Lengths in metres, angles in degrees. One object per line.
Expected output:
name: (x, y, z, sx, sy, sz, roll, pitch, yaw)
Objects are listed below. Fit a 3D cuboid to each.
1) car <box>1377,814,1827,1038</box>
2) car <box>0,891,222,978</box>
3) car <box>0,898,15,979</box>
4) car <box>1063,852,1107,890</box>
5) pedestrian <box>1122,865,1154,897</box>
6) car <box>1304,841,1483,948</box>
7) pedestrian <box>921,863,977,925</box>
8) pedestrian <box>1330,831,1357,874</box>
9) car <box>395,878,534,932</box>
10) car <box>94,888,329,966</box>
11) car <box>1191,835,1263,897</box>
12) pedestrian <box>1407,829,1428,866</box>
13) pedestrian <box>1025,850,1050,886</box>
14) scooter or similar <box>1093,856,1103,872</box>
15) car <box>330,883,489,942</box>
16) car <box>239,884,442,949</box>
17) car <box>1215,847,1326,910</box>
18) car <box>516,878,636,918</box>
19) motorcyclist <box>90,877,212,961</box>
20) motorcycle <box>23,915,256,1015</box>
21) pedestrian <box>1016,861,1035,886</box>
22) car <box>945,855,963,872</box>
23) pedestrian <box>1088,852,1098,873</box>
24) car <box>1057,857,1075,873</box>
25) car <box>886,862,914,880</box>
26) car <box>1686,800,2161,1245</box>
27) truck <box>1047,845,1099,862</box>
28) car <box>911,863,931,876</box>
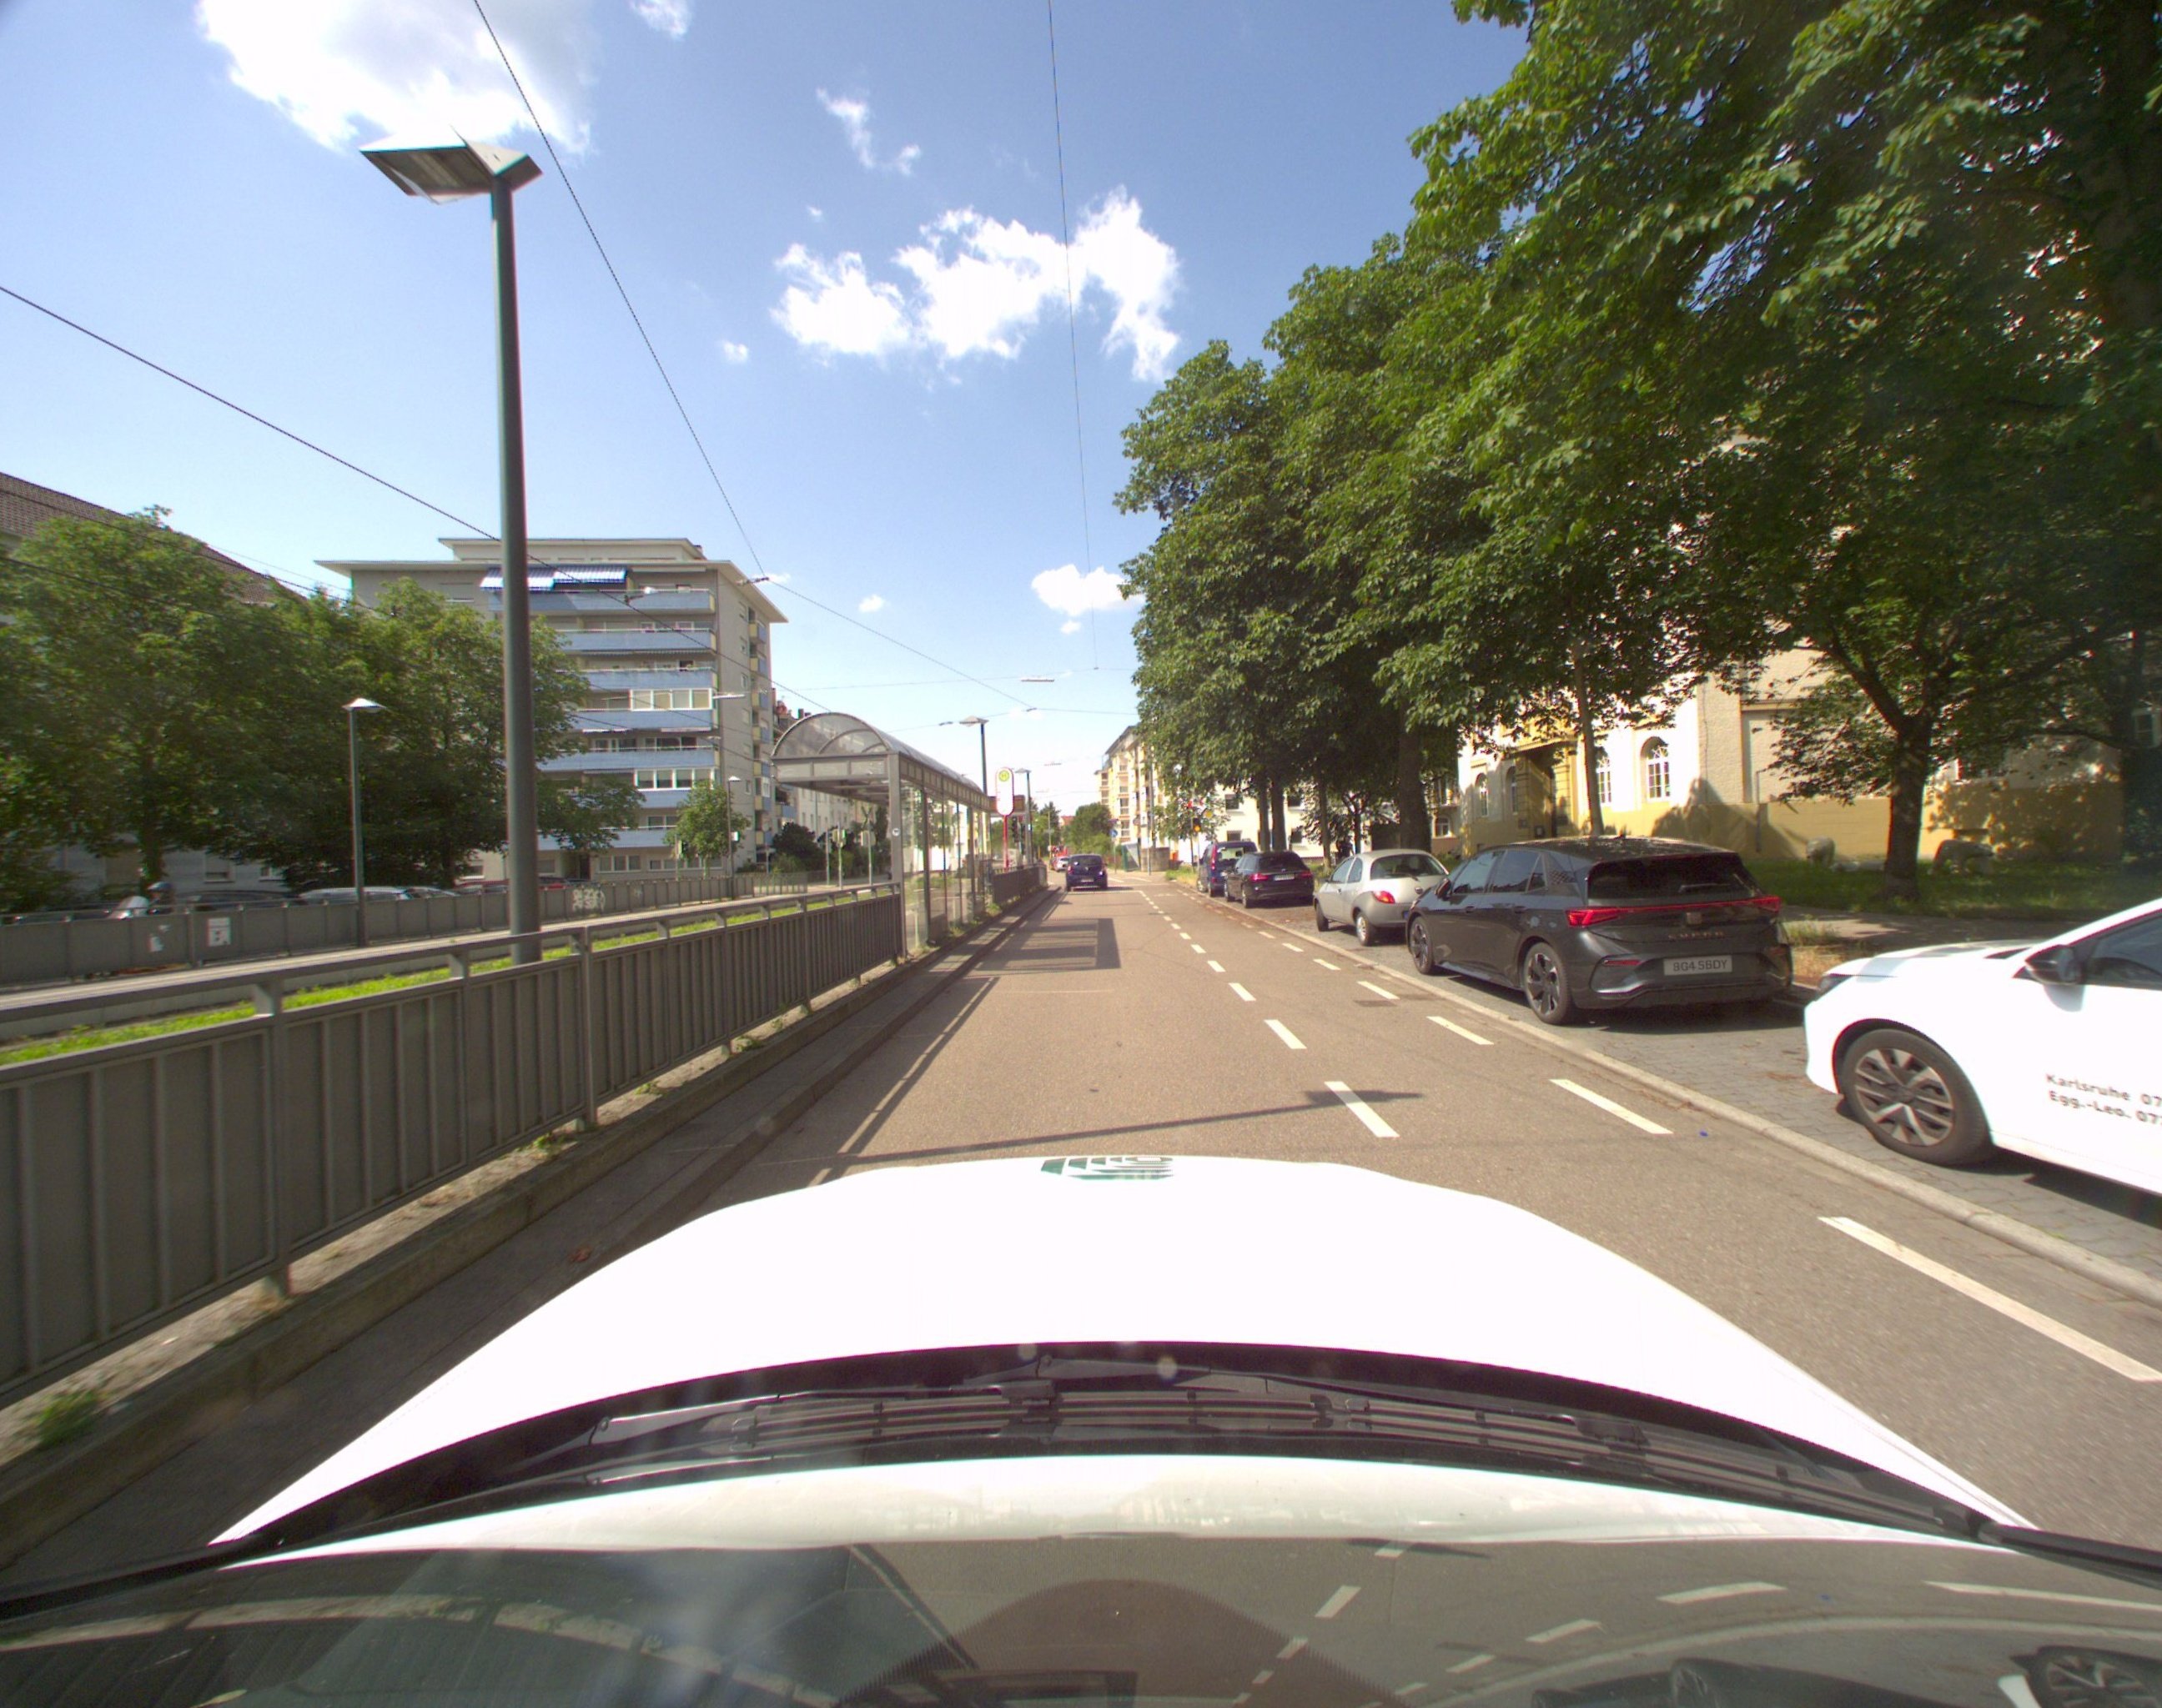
car: (4.747, 0.535, 8.440, 1.718, 1.583, 4.679, -3, 0, 2)
car: (-21.653, 1.726, 17.729, 3.678, 1.579, 1.633, -2, 0, -30)
car: (-22.539, 1.711, 14.469, 3.965, 1.579, 1.702, -2, 0, -31)
car: (0.173, 0.703, 34.356, 1.738, 1.507, 4.000, -1, -1, 1)
pedestrian: (3.798, 1.786, 55.067, 1.986, 2.014, 4.001, -1, -1, 1)
car: (4.993, 0.595, 13.530, 1.585, 1.445, 3.599, -4, 0, 1)
pedestrian: (-2.422, 0.734, 14.992, 0.655, 1.072, 0.728, -2, 1, 35)
pedestrian: (10.522, -0.062, 32.664, 0.741, 1.696, 0.767, -3, 0, 2)
car: (-21.606, 1.743, 28.743, 3.678, 1.579, 1.633, -2, 0, -30)
car: (-21.651, 1.758, 20.498, 3.678, 1.579, 1.633, -2, 0, -30)
car: (4.971, 0.369, 28.215, 1.815, 1.896, 4.187, -4, 0, 3)
pedestrian: (14.912, -0.267, 36.081, 0.629, 1.596, 0.539, -2, -1, -2)
pedestrian: (-2.087, 0.666, 39.304, 0.851, 1.667, 0.790, -2, -1, -34)
scooter or similar: (1.467, 0.877, 71.175, 0.661, 1.303, 0.867, -5, 0, -4)
car: (-21.489, 1.822, 26.260, 3.678, 1.579, 1.633, -2, 0, -30)
car: (-21.308, 1.748, 23.655, 4.039, 1.514, 1.594, -2, 0, -29)
car: (5.148, 0.598, 22.853, 1.911, 1.442, 4.796, -5, 0, 0)
car: (-21.272, 1.808, 34.396, 4.154, 1.394, 1.591, -2, 0, -38)
motorcyclist: (-16.175, 1.105, 14.195, 0.935, 1.339, 0.987, -3, 0, 2)
motorcycle: (-16.114, 1.838, 14.095, 1.011, 1.339, 2.518, -3, 0, 2)
pedestrian: (-2.736, 0.951, 40.103, 0.640, 1.180, 0.792, -2, -1, -25)
car: (-16.960, 1.281, 108.905, 1.989, 2.275, 4.827, 0, 0, -4)
pedestrian: (1.064, 0.712, 72.043, 0.700, 1.789, 1.028, -5, 0, -4)
car: (-1.500, 1.064, 78.230, 1.618, 1.465, 3.506, -1, -1, -3)
car: (-17.315, 1.610, 78.073, 1.989, 1.645, 3.996, -1, -1, -3)
car: (4.675, 0.552, 2.840, 1.830, 1.523, 4.251, -4, 0, -1)
truck: (-1.547, -0.139, 164.699, 10.167, 3.471, 2.658, 0, -1, -20)
car: (-18.447, 1.806, 94.021, 1.765, 1.442, 3.993, -1, -1, -4)
